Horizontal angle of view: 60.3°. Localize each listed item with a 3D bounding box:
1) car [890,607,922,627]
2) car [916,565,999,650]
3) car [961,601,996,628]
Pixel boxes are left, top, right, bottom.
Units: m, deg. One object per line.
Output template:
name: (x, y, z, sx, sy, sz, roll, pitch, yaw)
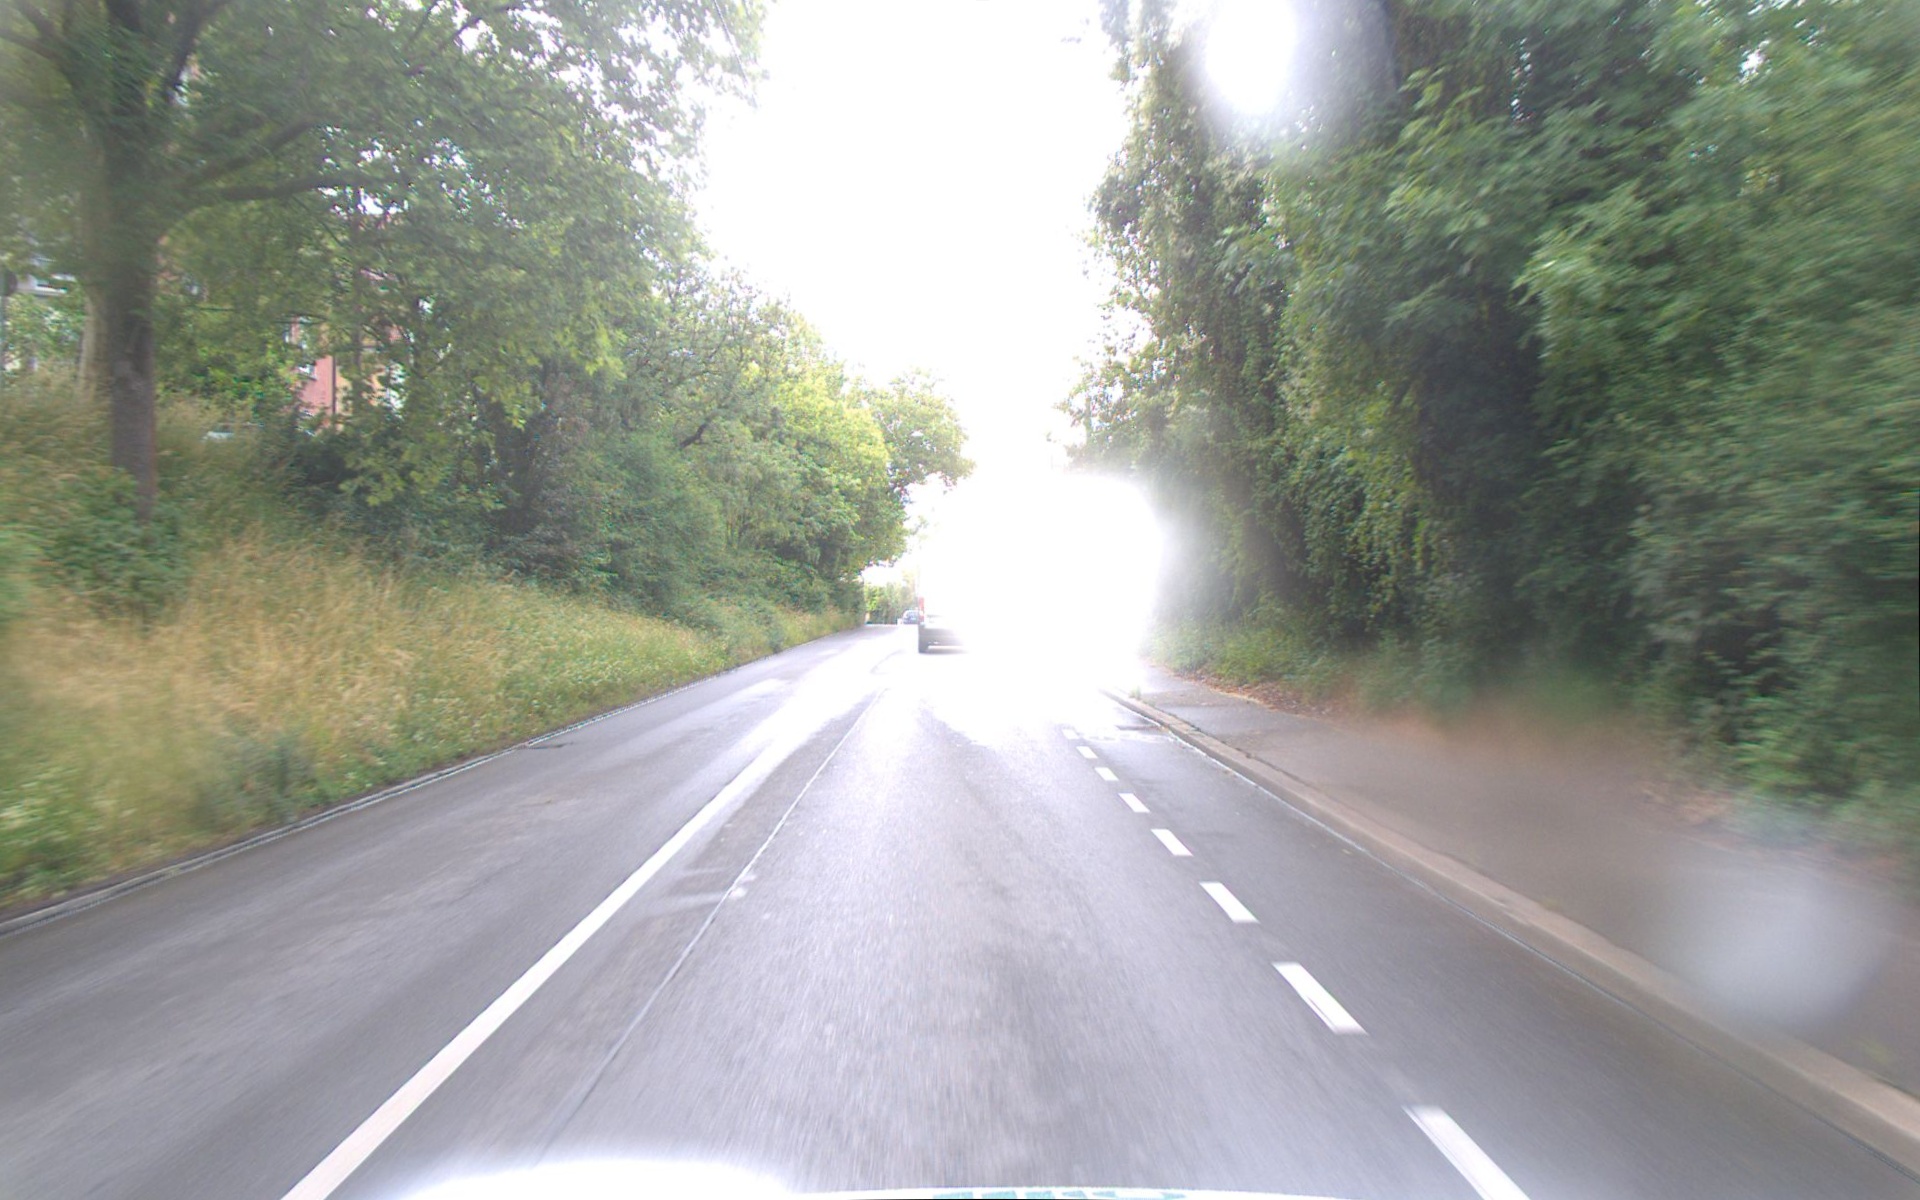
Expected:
car: (-5.051, 1.582, 154.135, 2.074, 1.741, 4.697, 1, 0, -13)
car: (-0.101, 0.194, 46.825, 2.192, 2.252, 4.712, 1, 0, -1)
car: (1.279, 1.009, 116.329, 2.192, 1.836, 4.711, 1, 0, -2)
